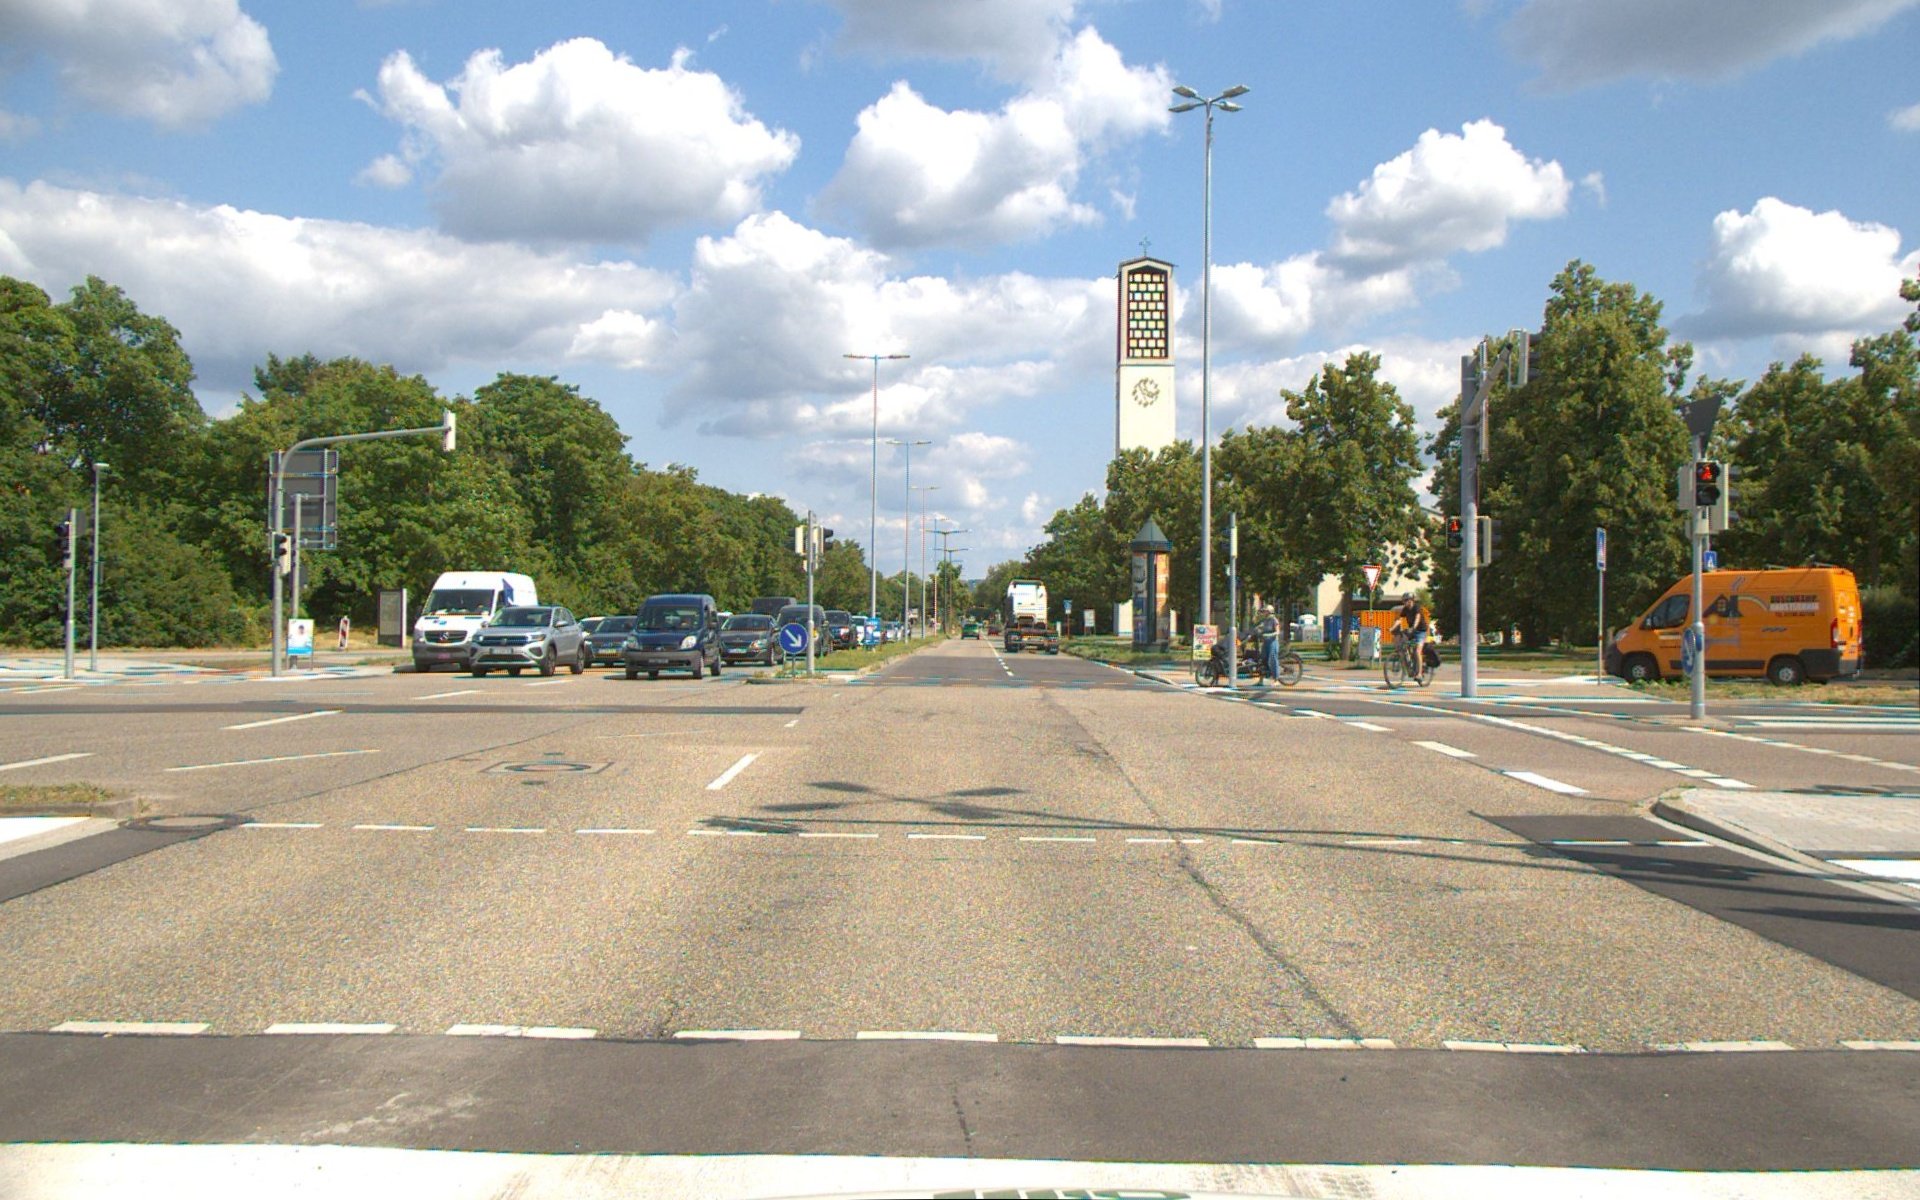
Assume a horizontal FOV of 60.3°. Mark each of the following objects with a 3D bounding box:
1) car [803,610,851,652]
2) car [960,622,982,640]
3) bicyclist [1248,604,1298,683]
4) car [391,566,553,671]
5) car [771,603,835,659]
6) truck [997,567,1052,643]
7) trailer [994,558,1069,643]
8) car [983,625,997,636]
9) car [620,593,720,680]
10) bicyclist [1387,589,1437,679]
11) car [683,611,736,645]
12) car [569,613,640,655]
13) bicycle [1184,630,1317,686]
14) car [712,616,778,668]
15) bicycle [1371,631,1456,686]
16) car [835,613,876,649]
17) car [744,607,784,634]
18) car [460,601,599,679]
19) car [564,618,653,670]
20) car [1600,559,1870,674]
[{"bbox_3d":[-5.644,1.324,70.555,1.699,1.689,4.230,2,-1,-1],"label":"car"},{"bbox_3d":[1.030,2.991,158.891,1.953,1.579,3.999,2,-1,-1],"label":"car"},{"bbox_3d":[6.606,0.917,34.926,0.689,1.644,0.791,1,-1,-24],"label":"bicyclist"},{"bbox_3d":[-12.792,0.519,43.854,2.128,2.514,5.969,2,-1,3],"label":"car"},{"bbox_3d":[-5.232,0.997,55.514,1.699,1.689,4.230,2,0,0],"label":"car"},{"bbox_3d":[3.713,0.346,93.186,2.897,4.040,8.640,1,-1,3],"label":"truck"},{"bbox_3d":[3.779,0.157,85.191,3.544,4.083,11.322,1,-1,3],"label":"trailer"},{"bbox_3d":[4.512,4.603,250.813,1.953,1.579,3.999,2,-1,-1],"label":"car"},{"bbox_3d":[-6.160,0.773,35.507,1.701,1.689,4.226,2,-1,-5],"label":"car"},{"bbox_3d":[9.336,0.704,34.163,0.781,1.836,0.676,1,-1,-39],"label":"bicyclist"},{"bbox_3d":[-9.576,1.071,63.415,1.516,1.238,3.489,2,-1,-1],"label":"car"},{"bbox_3d":[-12.308,1.178,57.408,1.728,1.375,3.518,1,-1,-1],"label":"car"},{"bbox_3d":[6.103,1.205,34.697,2.796,1.131,0.791,1,0,-25],"label":"bicycle"},{"bbox_3d":[-6.010,1.169,46.542,1.537,1.339,3.430,2,-1,-3],"label":"car"},{"bbox_3d":[9.383,1.197,34.199,1.984,1.113,0.676,1,-1,-39],"label":"bicycle"},{"bbox_3d":[-5.184,1.528,82.121,1.699,1.689,4.230,2,-1,0],"label":"car"},{"bbox_3d":[-9.477,1.000,80.052,1.516,1.238,3.489,2,-1,-1],"label":"car"},{"bbox_3d":[-9.572,0.880,37.123,1.698,1.570,4.310,2,-1,3],"label":"car"},{"bbox_3d":[-9.717,1.197,45.926,1.728,1.375,3.518,1,-1,-1],"label":"car"},{"bbox_3d":[16.465,0.327,35.278,4.775,2.265,2.197,1,-1,43],"label":"car"}]
